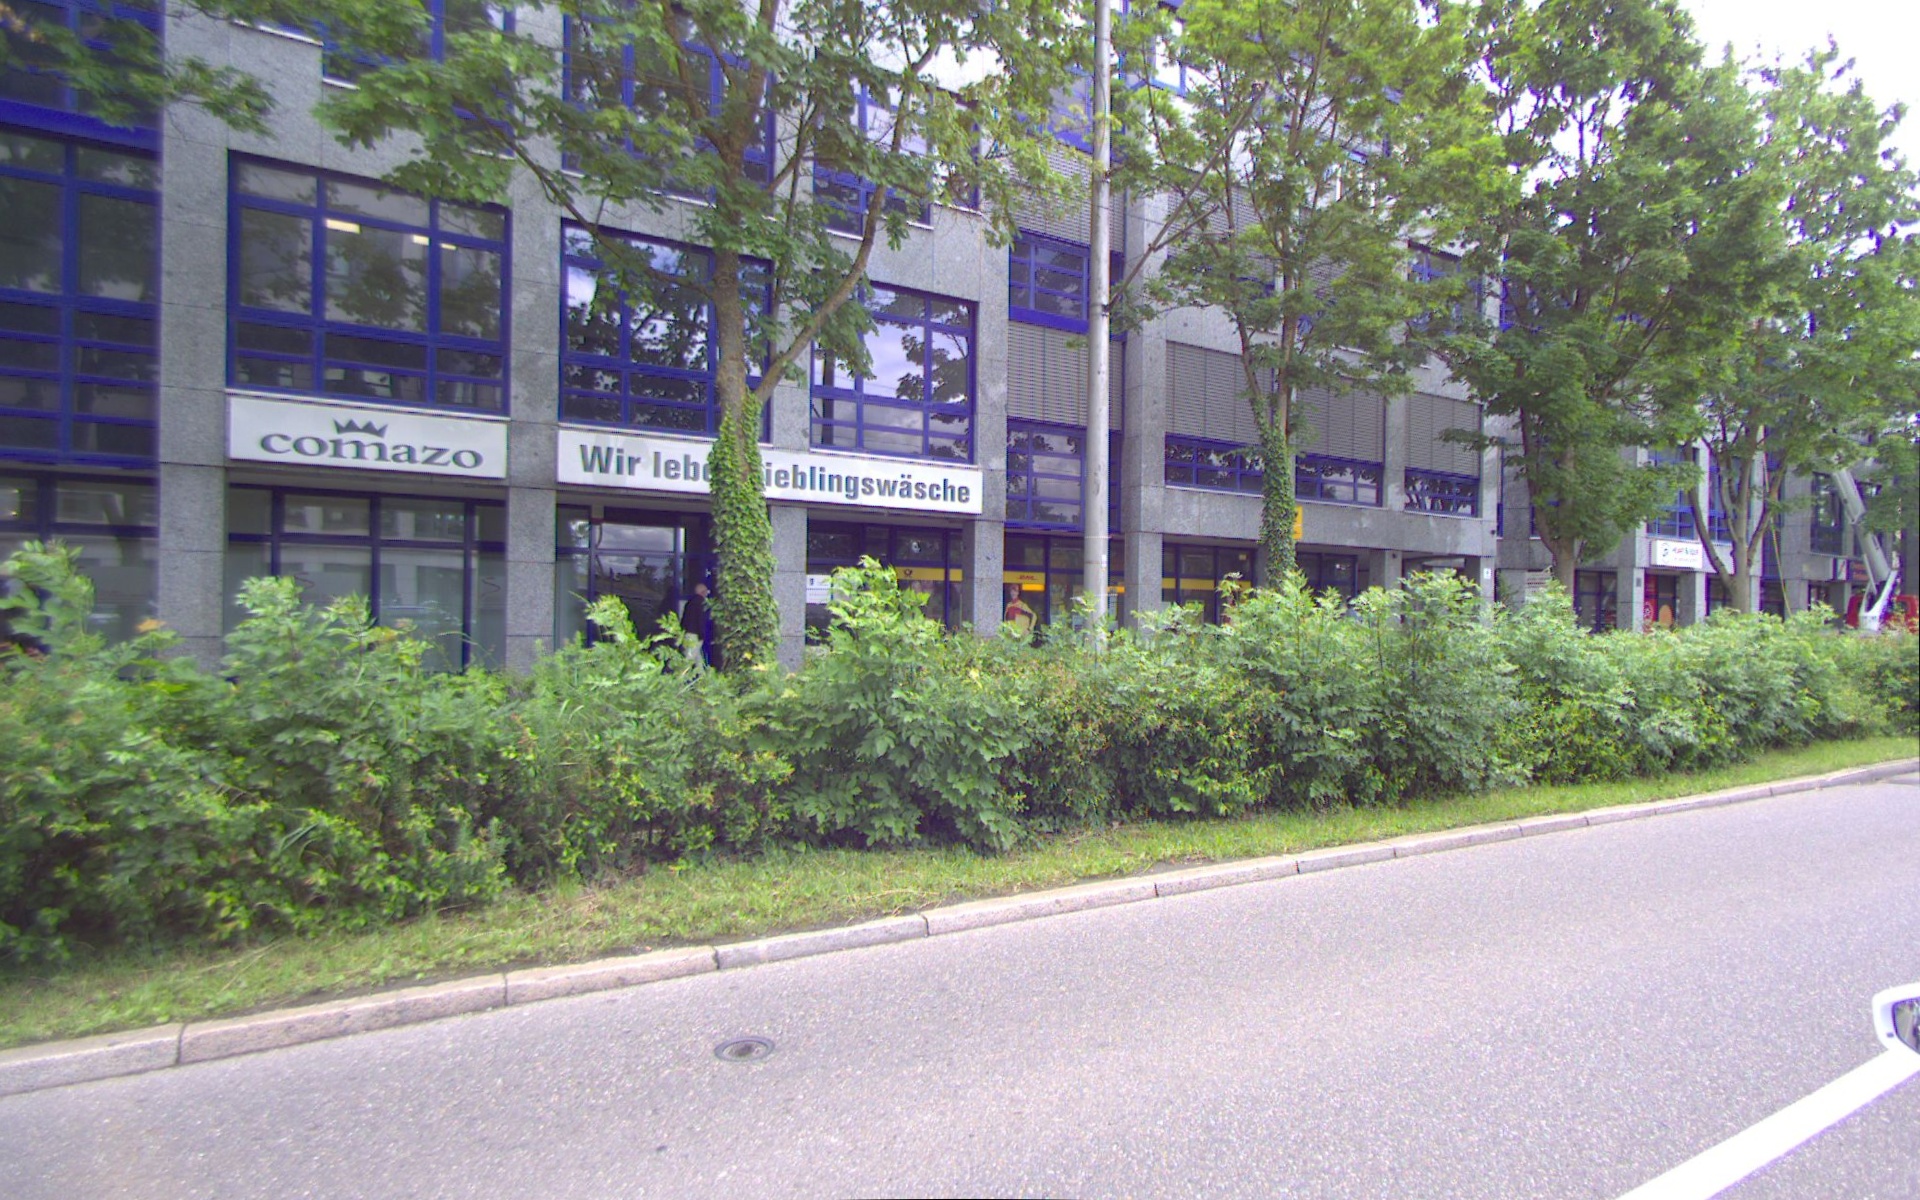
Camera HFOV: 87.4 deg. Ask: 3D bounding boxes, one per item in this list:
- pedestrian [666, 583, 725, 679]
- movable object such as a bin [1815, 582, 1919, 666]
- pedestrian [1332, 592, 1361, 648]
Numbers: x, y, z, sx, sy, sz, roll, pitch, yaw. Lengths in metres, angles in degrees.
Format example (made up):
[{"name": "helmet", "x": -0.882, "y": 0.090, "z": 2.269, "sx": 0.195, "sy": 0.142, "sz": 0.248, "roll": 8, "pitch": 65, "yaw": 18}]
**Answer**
[{"name": "pedestrian", "x": -4.308, "y": 0.488, "z": 16.347, "sx": 0.674, "sy": 1.502, "sz": 0.691, "roll": 0, "pitch": 1, "yaw": -41}, {"name": "movable object such as a bin", "x": 29.675, "y": 0.740, "z": 32.464, "sx": 4.080, "sy": 2.565, "sz": 1.895, "roll": 1, "pitch": 1, "yaw": -31}, {"name": "pedestrian", "x": 9.524, "y": 0.495, "z": 24.758, "sx": 0.552, "sy": 1.352, "sz": 0.362, "roll": 0, "pitch": 3, "yaw": -35}]
